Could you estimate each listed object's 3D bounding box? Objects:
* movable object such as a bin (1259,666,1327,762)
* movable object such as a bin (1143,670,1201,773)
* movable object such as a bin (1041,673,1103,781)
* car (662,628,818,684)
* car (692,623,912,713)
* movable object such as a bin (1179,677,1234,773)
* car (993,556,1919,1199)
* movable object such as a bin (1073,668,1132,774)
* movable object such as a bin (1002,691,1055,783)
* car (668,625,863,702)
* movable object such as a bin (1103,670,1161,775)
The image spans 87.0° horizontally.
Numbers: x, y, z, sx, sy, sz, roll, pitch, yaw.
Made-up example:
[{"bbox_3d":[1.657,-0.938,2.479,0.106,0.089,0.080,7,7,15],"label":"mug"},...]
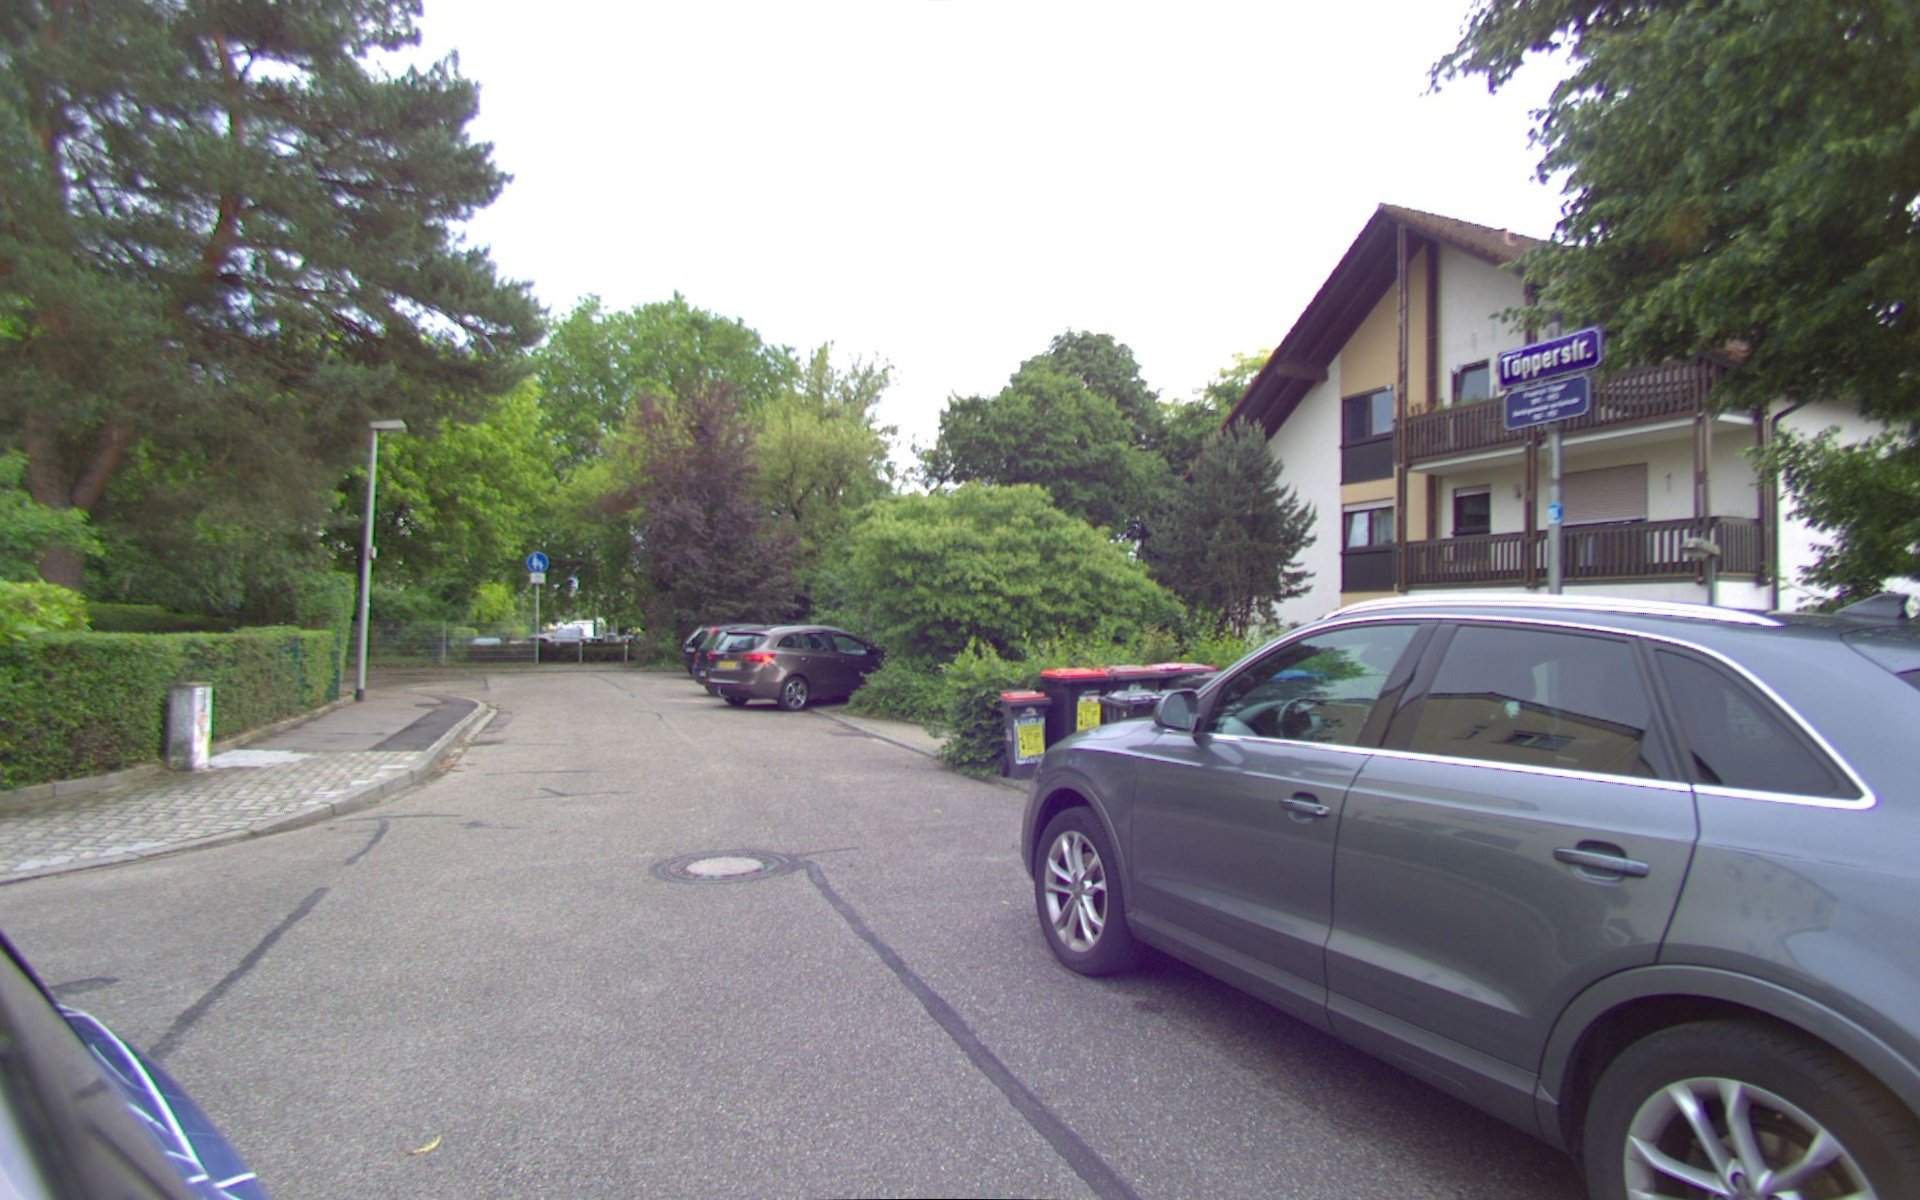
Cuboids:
[{"bbox_3d":[2.997,1.014,9.125,0.373,0.803,0.462,1,-1,-24],"label":"movable object such as a bin"},{"bbox_3d":[2.205,1.252,10.558,0.332,1.001,0.540,1,-1,-26],"label":"movable object such as a bin"},{"bbox_3d":[1.106,1.247,10.061,0.373,1.001,0.540,1,-1,-26],"label":"movable object such as a bin"},{"bbox_3d":[-5.903,1.477,27.513,1.700,1.385,3.946,-1,-2,41],"label":"car"},{"bbox_3d":[-2.868,1.206,19.017,1.700,1.502,3.946,-1,-2,41],"label":"car"},{"bbox_3d":[2.460,1.235,10.101,0.373,0.908,0.388,1,-1,-26],"label":"movable object such as a bin"},{"bbox_3d":[1.844,0.762,3.287,1.717,1.543,4.265,3,-2,-24],"label":"car"},{"bbox_3d":[1.435,1.209,10.228,0.332,1.001,0.540,1,-1,-26],"label":"movable object such as a bin"},{"bbox_3d":[0.674,1.336,9.965,0.373,0.843,0.388,1,-1,-26],"label":"movable object such as a bin"},{"bbox_3d":[-4.111,1.310,21.883,1.700,1.502,3.946,-1,-2,41],"label":"car"},{"bbox_3d":[1.759,1.237,10.362,0.332,1.001,0.540,1,-1,-26],"label":"movable object such as a bin"}]
